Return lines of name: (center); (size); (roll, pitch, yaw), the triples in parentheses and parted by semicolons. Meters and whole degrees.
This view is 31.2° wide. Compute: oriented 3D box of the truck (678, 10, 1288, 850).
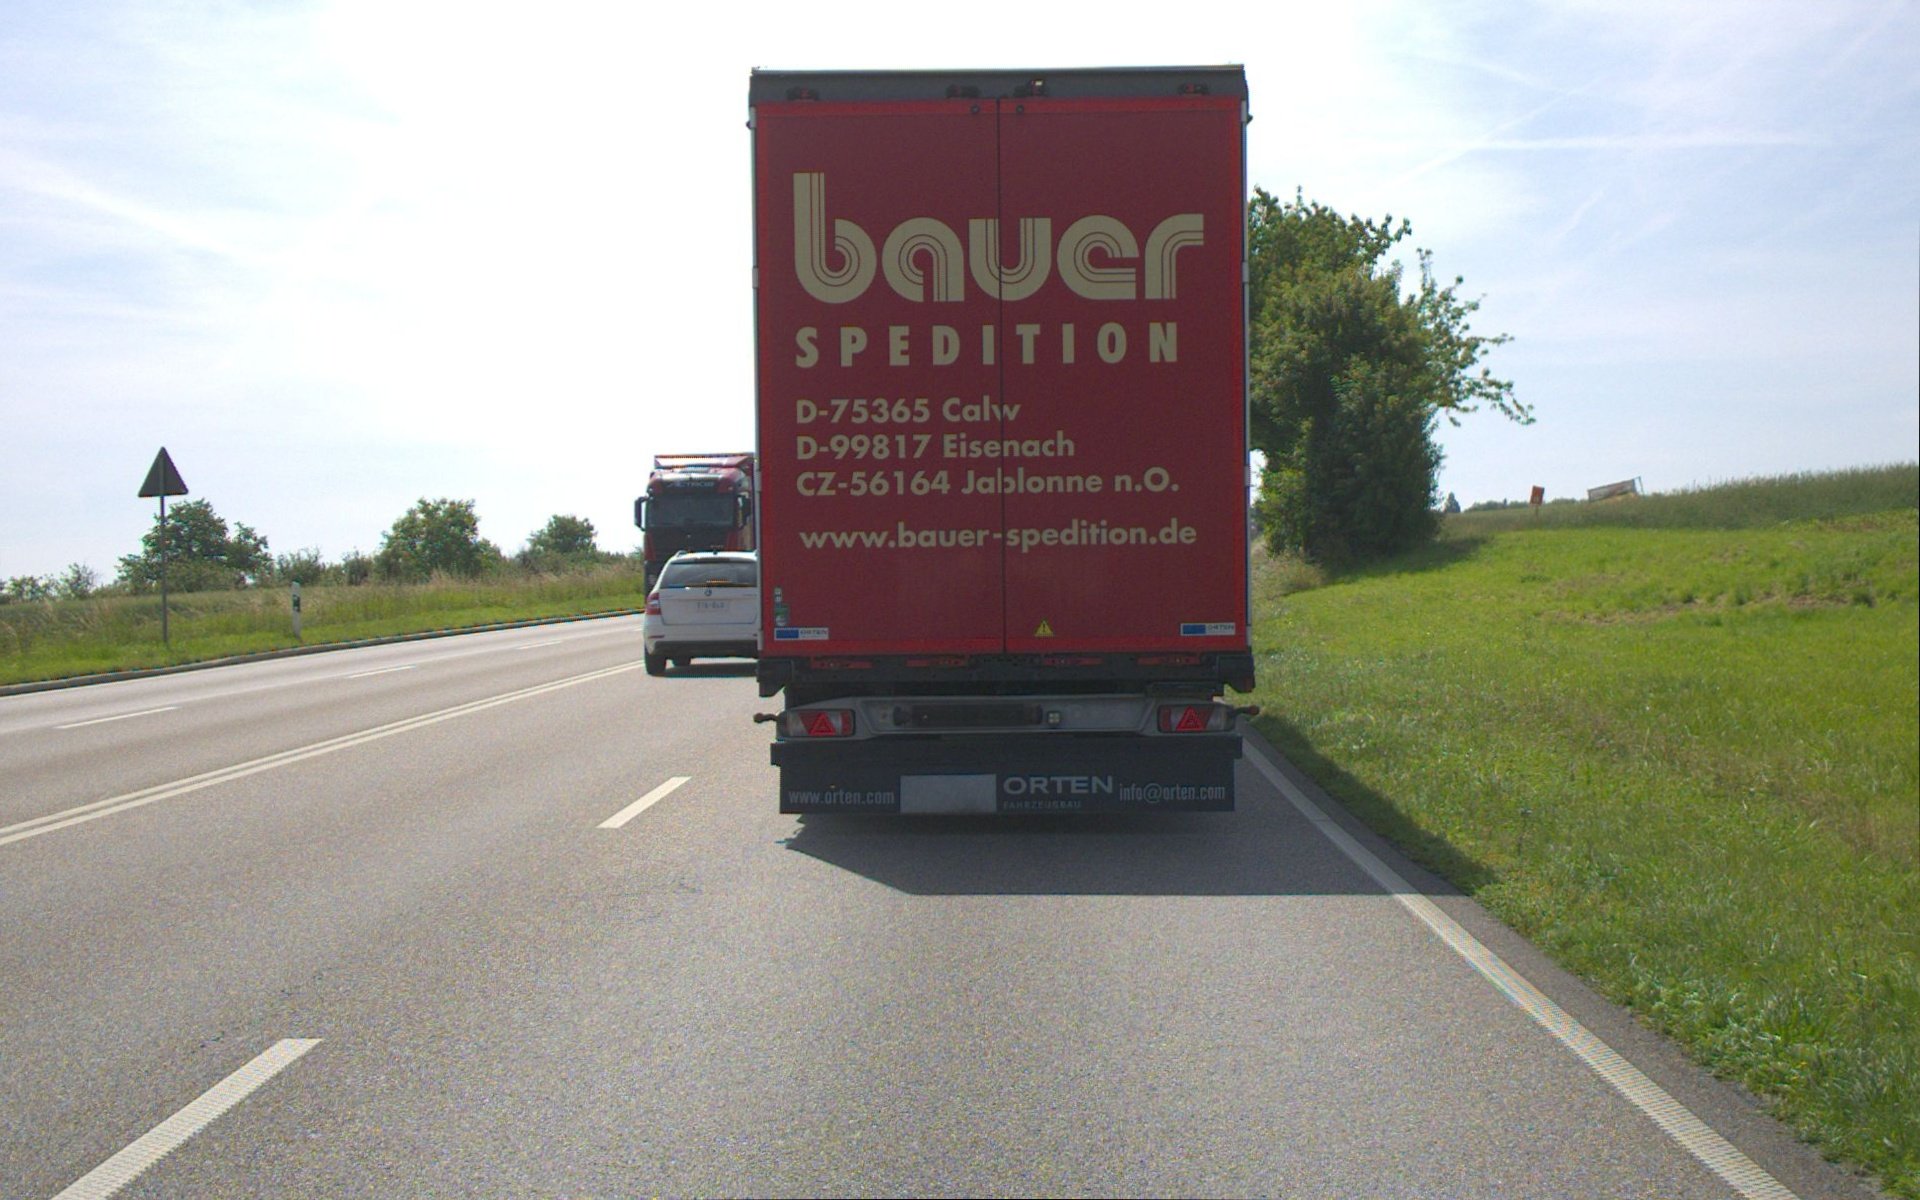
truck: (0.277, -0.947, 25.538); (3.007, 4.166, 16.714); (-1, 1, 1)

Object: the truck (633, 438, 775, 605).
truck: (-6.545, -2.002, 88.754); (2.617, 4.087, 6.087); (-2, 1, 5)

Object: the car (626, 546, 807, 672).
car: (-2.976, 0.069, 42.923); (1.821, 1.467, 4.789); (0, 1, 1)

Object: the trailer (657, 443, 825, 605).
trailer: (-5.915, -2.087, 95.419); (2.545, 4.087, 13.581); (-2, 1, 5)

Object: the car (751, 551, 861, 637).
car: (-2.713, -0.132, 61.536); (1.705, 1.467, 4.811); (0, 1, 1)
